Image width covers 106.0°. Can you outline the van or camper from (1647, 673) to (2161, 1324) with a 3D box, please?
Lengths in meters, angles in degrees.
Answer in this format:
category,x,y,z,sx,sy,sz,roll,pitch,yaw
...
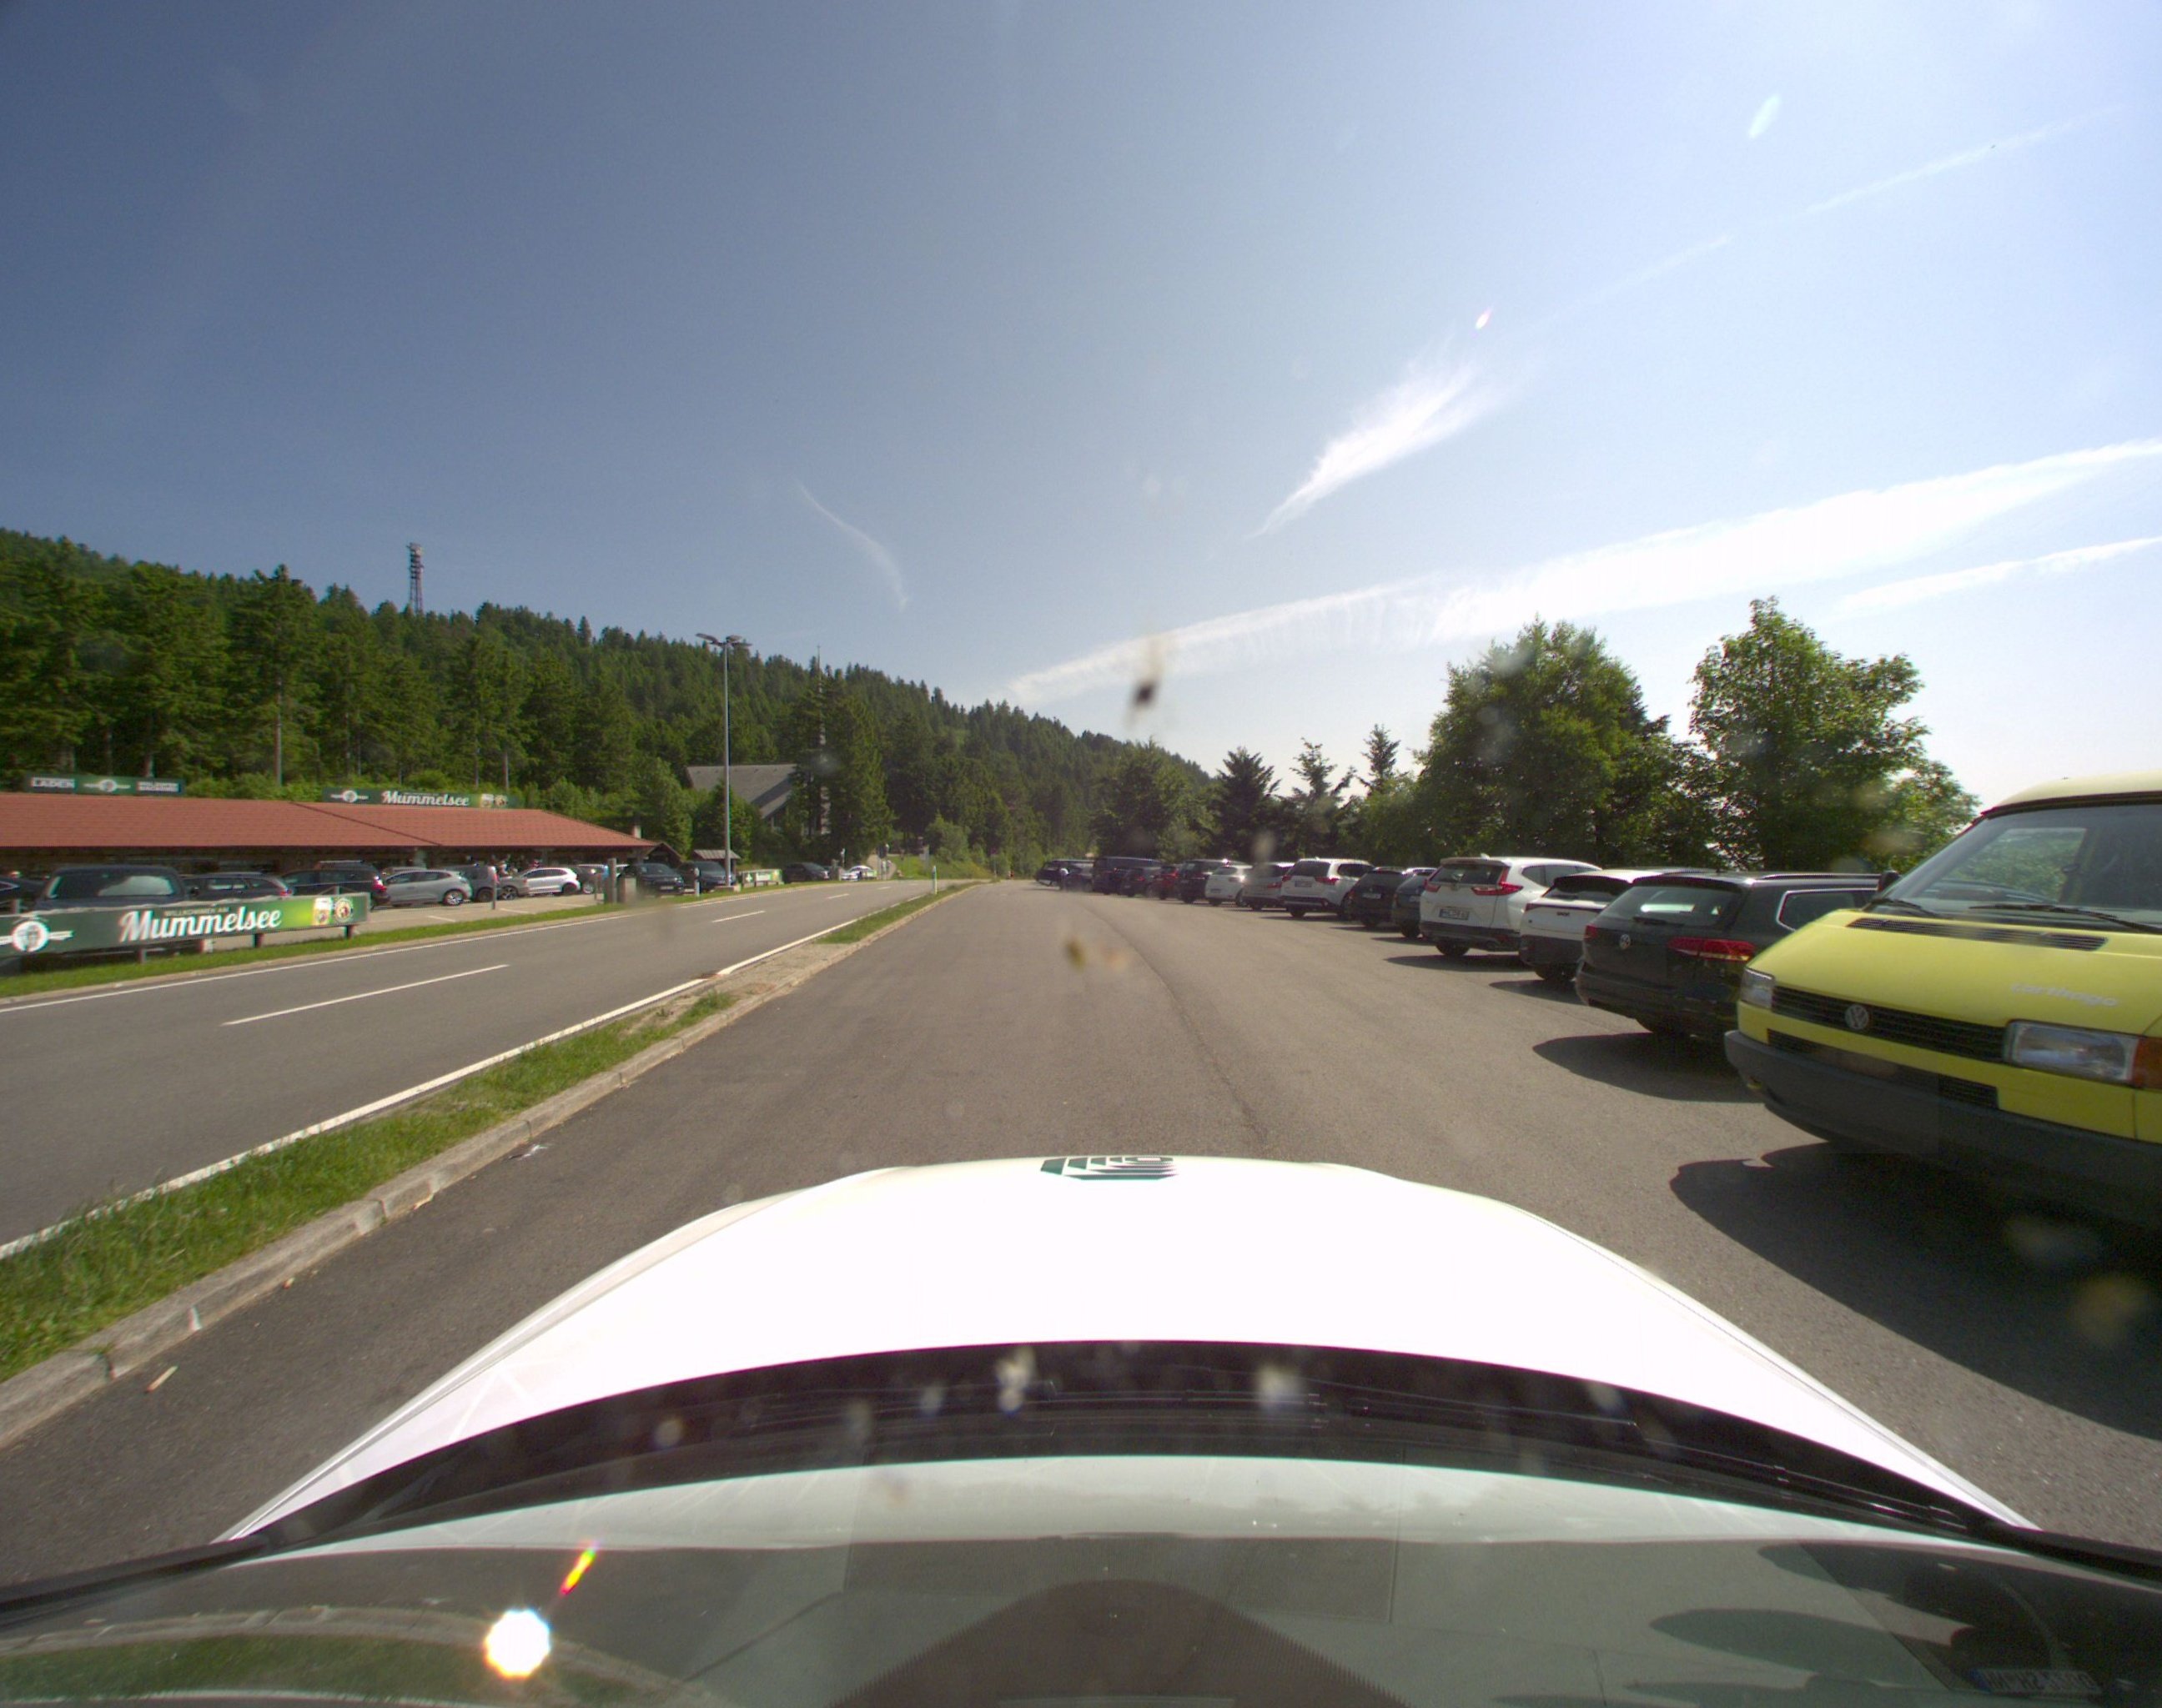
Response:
category,x,y,z,sx,sy,sz,roll,pitch,yaw
van or camper,5.642,0.535,3.523,5.075,2.013,1.881,2,0,-1

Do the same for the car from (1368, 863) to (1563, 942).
category,x,y,z,sx,sy,sz,roll,pitch,yaw
car,7.984,0.991,16.870,3.814,1.459,1.648,3,-1,-27

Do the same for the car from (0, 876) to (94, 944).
category,x,y,z,sx,sy,sz,roll,pitch,yaw
car,-25.032,1.304,18.022,1.889,1.430,4.025,-1,1,40

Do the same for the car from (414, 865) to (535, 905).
category,x,y,z,sx,sy,sz,roll,pitch,yaw
car,-26.999,1.326,36.329,1.875,1.545,4.025,-1,1,42

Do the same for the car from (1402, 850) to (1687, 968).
category,x,y,z,sx,sy,sz,roll,pitch,yaw
car,7.476,0.854,13.125,4.190,1.650,1.877,3,-1,-24

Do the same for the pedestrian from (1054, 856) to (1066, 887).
category,x,y,z,sx,sy,sz,roll,pitch,yaw
pedestrian,-1.210,1.020,47.696,0.578,1.761,0.632,3,-2,-4

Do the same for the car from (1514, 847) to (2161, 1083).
category,x,y,z,sx,sy,sz,roll,pitch,yaw
car,6.161,0.742,6.700,4.347,1.487,1.808,-1,1,-8

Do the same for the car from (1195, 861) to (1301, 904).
category,x,y,z,sx,sy,sz,roll,pitch,yaw
car,6.186,1.063,29.976,4.021,1.476,1.747,3,-1,-42

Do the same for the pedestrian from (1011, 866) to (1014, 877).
category,x,y,z,sx,sy,sz,roll,pitch,yaw
pedestrian,-11.646,2.955,138.231,0.392,1.747,0.407,0,0,11

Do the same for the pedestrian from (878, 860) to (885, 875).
category,x,y,z,sx,sy,sz,roll,pitch,yaw
pedestrian,-22.654,1.558,92.527,0.653,1.667,0.640,-1,-3,-11

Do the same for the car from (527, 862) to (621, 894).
category,x,y,z,sx,sy,sz,roll,pitch,yaw
car,-28.054,1.318,45.145,1.974,1.574,4.025,-2,0,41

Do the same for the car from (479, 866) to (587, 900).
category,x,y,z,sx,sy,sz,roll,pitch,yaw
car,-26.713,1.383,39.794,1.883,1.420,4.025,-2,0,41

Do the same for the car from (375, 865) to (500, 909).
category,x,y,z,sx,sy,sz,roll,pitch,yaw
car,-26.449,1.303,33.566,1.713,1.588,3.756,-1,1,41

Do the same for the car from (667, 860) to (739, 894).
category,x,y,z,sx,sy,sz,roll,pitch,yaw
car,-18.672,1.115,40.138,4.008,1.567,1.751,-1,-1,42

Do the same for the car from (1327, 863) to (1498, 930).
category,x,y,z,sx,sy,sz,roll,pitch,yaw
car,8.143,1.035,19.938,4.066,1.461,1.875,3,-1,-33

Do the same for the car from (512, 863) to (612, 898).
category,x,y,z,sx,sy,sz,roll,pitch,yaw
car,-27.179,1.361,42.745,1.974,1.574,4.025,-2,0,41

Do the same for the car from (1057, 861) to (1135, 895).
category,x,y,z,sx,sy,sz,roll,pitch,yaw
car,0.900,1.405,47.306,4.013,1.662,1.980,6,-3,-32

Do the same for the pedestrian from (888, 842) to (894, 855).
category,x,y,z,sx,sy,sz,roll,pitch,yaw
pedestrian,-28.663,-0.815,122.661,0.816,2.013,0.850,-1,0,-13

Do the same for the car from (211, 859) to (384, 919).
category,x,y,z,sx,sy,sz,roll,pitch,yaw
car,-25.925,1.092,27.105,4.023,1.704,1.803,-2,1,-44

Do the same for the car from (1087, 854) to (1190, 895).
category,x,y,z,sx,sy,sz,roll,pitch,yaw
car,2.909,1.025,41.163,4.778,1.880,1.951,3,-1,-23

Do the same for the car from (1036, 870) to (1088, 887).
category,x,y,z,sx,sy,sz,roll,pitch,yaw
car,-1.778,2.272,75.959,4.468,1.299,1.571,5,-2,-21

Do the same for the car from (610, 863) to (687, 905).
category,x,y,z,sx,sy,sz,roll,pitch,yaw
car,-17.784,1.179,33.436,1.793,1.552,3.951,-1,0,-43

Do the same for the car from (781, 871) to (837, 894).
category,x,y,z,sx,sy,sz,roll,pitch,yaw
car,-19.820,2.061,59.321,4.156,1.634,1.800,-1,-2,35

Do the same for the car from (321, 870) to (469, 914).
category,x,y,z,sx,sy,sz,roll,pitch,yaw
car,-25.840,1.374,30.777,1.789,1.371,4.025,-1,1,41

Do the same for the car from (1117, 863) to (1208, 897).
category,x,y,z,sx,sy,sz,roll,pitch,yaw
car,3.822,1.228,38.062,4.013,1.415,1.727,3,-1,-32

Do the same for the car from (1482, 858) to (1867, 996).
category,x,y,z,sx,sy,sz,roll,pitch,yaw
car,7.496,0.841,10.387,4.095,1.500,1.933,1,-1,-17

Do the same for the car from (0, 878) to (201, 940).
category,x,y,z,sx,sy,sz,roll,pitch,yaw
car,-25.527,1.364,21.031,1.567,1.321,3.662,-1,1,39

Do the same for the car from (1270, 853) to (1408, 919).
category,x,y,z,sx,sy,sz,roll,pitch,yaw
car,7.451,0.894,23.342,4.249,1.695,1.841,2,-1,-42

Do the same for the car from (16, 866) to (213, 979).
category,x,y,z,sx,sy,sz,roll,pitch,yaw
car,-15.917,0.997,13.631,4.140,1.540,1.818,-1,1,44

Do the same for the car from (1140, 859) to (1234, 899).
category,x,y,z,sx,sy,sz,roll,pitch,yaw
car,4.680,1.110,35.634,4.021,1.590,1.841,3,-1,-42

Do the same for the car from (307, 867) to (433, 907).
category,x,y,z,sx,sy,sz,roll,pitch,yaw
car,-32.458,1.475,37.269,1.974,1.574,4.026,-2,0,38

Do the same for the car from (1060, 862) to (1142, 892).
category,x,y,z,sx,sy,sz,roll,pitch,yaw
car,1.087,1.240,44.131,4.006,1.443,1.824,3,-1,-26

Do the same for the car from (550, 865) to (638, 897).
category,x,y,z,sx,sy,sz,roll,pitch,yaw
car,-28.697,1.572,48.044,1.753,1.672,4.056,-3,-1,40

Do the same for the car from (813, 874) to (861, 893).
category,x,y,z,sx,sy,sz,roll,pitch,yaw
car,-19.691,2.366,65.706,3.919,1.441,1.755,-2,0,39

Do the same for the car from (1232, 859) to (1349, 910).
category,x,y,z,sx,sy,sz,roll,pitch,yaw
car,6.998,1.015,26.974,4.021,1.549,1.799,3,-1,-42

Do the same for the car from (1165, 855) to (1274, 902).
category,x,y,z,sx,sy,sz,roll,pitch,yaw
car,5.515,0.971,32.089,4.296,1.695,1.967,3,-1,-42

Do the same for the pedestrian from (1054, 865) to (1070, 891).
category,x,y,z,sx,sy,sz,roll,pitch,yaw
pedestrian,-1.057,1.334,45.497,0.770,1.402,0.669,-1,0,2

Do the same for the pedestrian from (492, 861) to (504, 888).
category,x,y,z,sx,sy,sz,roll,pitch,yaw
pedestrian,-40.308,1.409,56.345,0.540,1.874,0.531,-1,-2,39

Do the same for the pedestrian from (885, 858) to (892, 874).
category,x,y,z,sx,sy,sz,roll,pitch,yaw
pedestrian,-22.001,1.341,93.036,0.653,1.799,0.641,0,0,-11

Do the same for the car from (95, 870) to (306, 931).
category,x,y,z,sx,sy,sz,roll,pitch,yaw
car,-25.859,1.300,24.072,1.694,1.486,4.105,-1,1,41
